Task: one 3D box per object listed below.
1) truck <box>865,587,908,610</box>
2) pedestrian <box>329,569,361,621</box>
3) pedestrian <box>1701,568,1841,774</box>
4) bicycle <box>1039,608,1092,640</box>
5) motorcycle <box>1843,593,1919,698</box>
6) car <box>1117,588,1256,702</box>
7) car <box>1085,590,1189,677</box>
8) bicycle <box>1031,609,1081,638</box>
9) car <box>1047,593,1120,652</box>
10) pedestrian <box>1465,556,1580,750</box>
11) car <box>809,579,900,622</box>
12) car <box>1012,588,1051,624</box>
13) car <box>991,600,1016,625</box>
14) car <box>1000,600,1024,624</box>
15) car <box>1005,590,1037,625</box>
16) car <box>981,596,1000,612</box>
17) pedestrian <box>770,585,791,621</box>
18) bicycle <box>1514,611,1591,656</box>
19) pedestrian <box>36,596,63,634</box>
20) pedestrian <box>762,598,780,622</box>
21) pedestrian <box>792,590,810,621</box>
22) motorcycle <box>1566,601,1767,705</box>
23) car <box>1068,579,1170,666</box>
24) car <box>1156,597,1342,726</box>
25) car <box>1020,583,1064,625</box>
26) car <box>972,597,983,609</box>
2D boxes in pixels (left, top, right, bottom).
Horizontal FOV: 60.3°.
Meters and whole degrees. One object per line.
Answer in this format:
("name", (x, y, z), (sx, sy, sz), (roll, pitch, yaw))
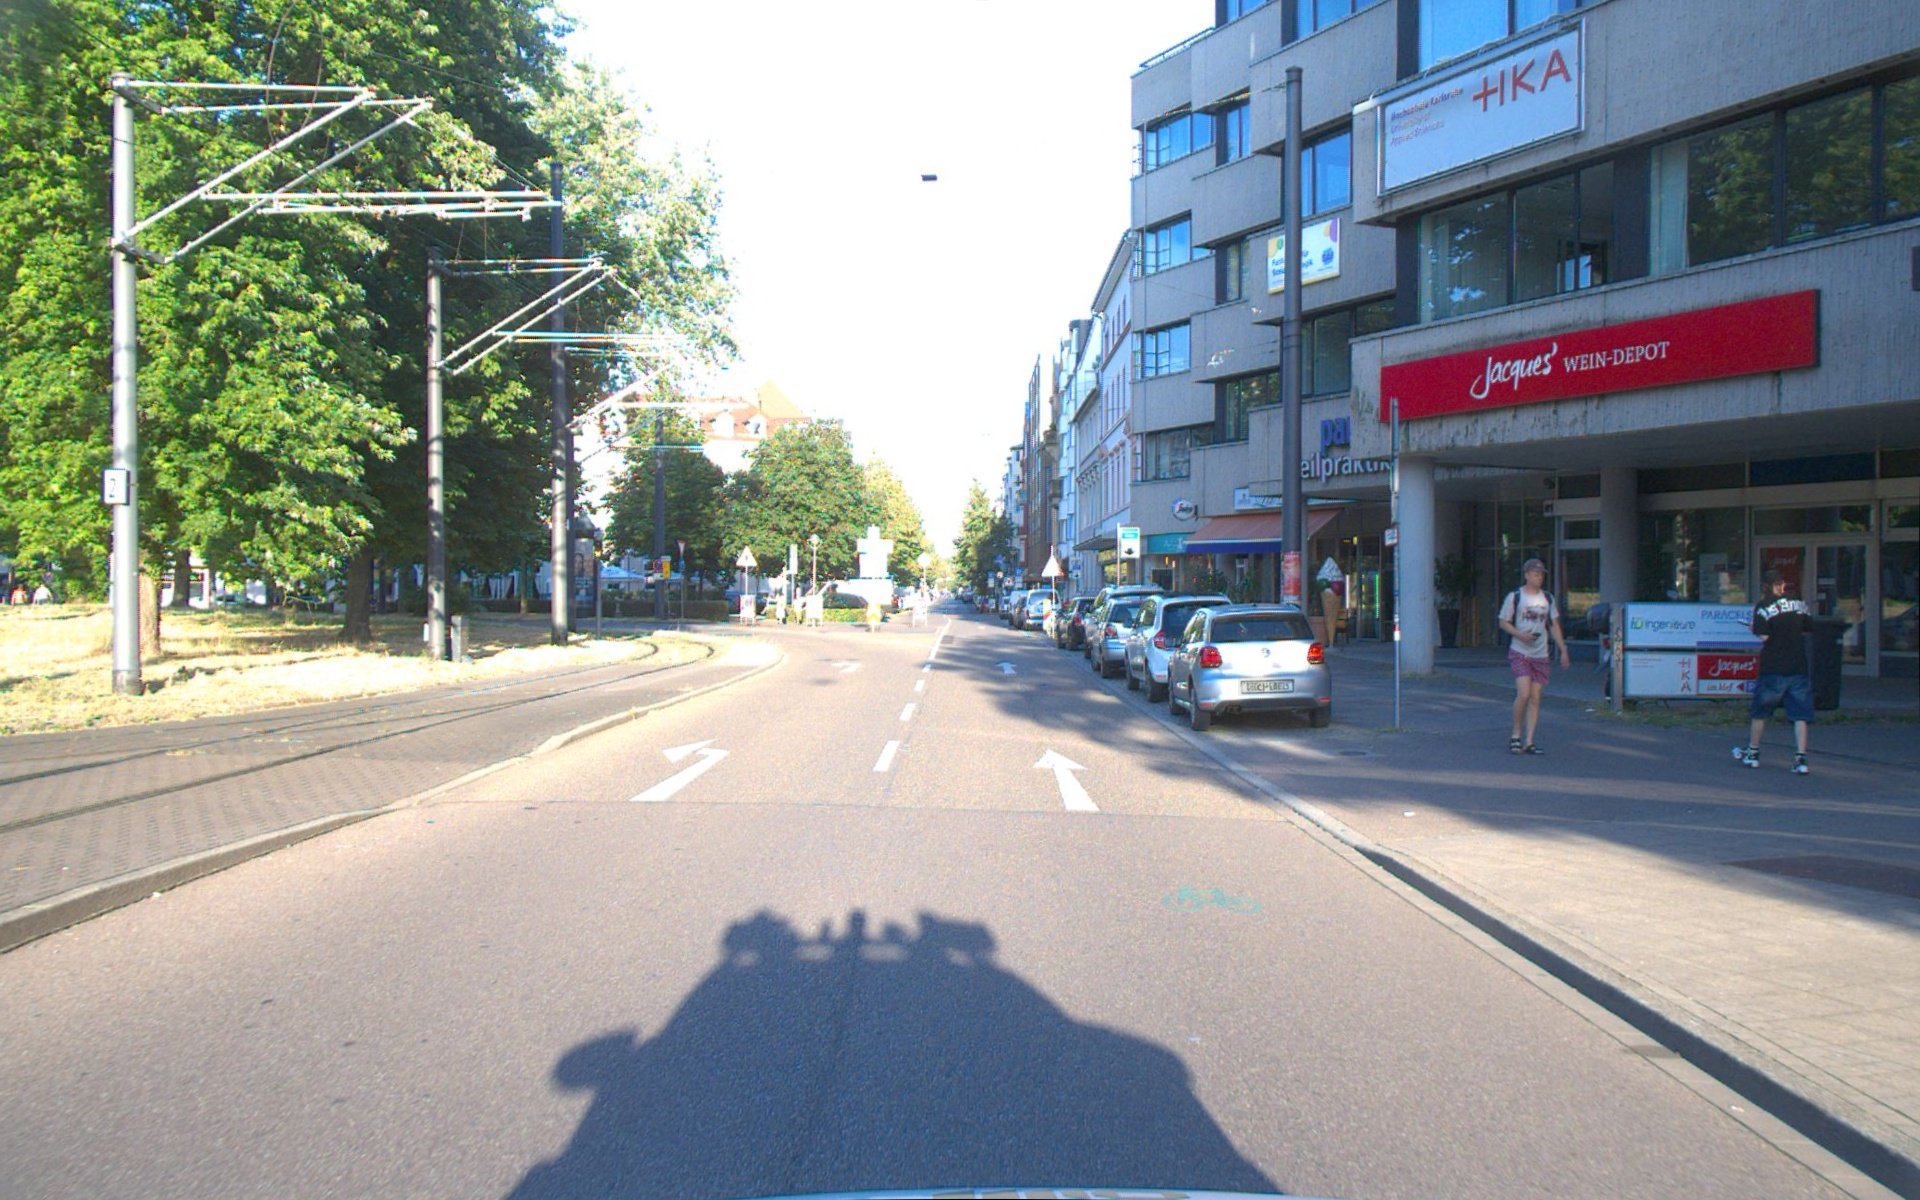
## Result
("truck", (-8.297, -0.177, 187.863), (4.840, 2.661, 2.000), (0, 0, -1))
("pedestrian", (-21.014, -0.170, 56.556), (0.728, 1.729, 0.823), (1, -2, 0))
("pedestrian", (6.799, 0.565, 13.892), (0.630, 1.655, 0.851), (-1, 1, -23))
("bicycle", (3.715, 0.842, 58.264), (1.749, 1.007, 0.542), (-3, 1, 11))
("motorcycle", (12.333, 0.576, 21.107), (1.753, 1.316, 0.670), (-1, 0, 15))
("car", (3.473, 0.645, 25.918), (1.552, 1.618, 3.667), (1, 0, -2))
("car", (3.390, 0.606, 32.225), (1.607, 1.555, 4.000), (1, 0, 0))
("bicycle", (3.601, 0.876, 62.262), (1.751, 1.007, 0.542), (-2, 1, 23))
("car", (3.337, 0.579, 45.319), (1.753, 1.534, 3.921), (1, 0, 1))
("pedestrian", (5.442, 0.495, 16.039), (0.630, 1.817, 0.851), (1, 0, -23))
("car", (-5.836, 0.032, 91.507), (4.544, 2.290, 2.184), (1, -1, -27))
("car", (3.427, 0.281, 79.732), (1.623, 1.694, 4.107), (1, 0, -1))
("car", (3.237, 0.912, 123.346), (1.662, 1.800, 3.999), (0, 0, -1))
("car", (3.760, 0.839, 118.267), (1.645, 1.588, 4.001), (-2, 0, 2))
("car", (3.389, 0.417, 92.153), (1.674, 1.867, 4.306), (1, 0, 1))
("car", (3.042, 0.394, 165.435), (1.545, 1.570, 3.395), (-2, -1, -3))
("pedestrian", (-8.112, 0.145, 74.798), (0.692, 1.586, 0.685), (1, 0, -37))
("bicycle", (11.540, 0.644, 32.230), (1.367, 0.843, 0.437), (1, 0, -10))
("pedestrian", (-46.399, 0.761, 84.274), (0.843, 1.872, 0.996), (1, 2, 0))
("pedestrian", (-10.492, 0.554, 91.828), (0.741, 1.300, 0.653), (1, 0, -37))
("pedestrian", (-7.210, 0.265, 75.031), (0.558, 1.388, 0.606), (1, 0, -37))
("motorcycle", (8.549, 0.630, 20.037), (2.234, 1.211, 0.703), (0, 0, -11))
("car", (3.543, 0.465, 37.629), (1.748, 1.836, 4.400), (1, 0, -2))
("car", (3.555, 0.712, 20.990), (1.748, 1.482, 4.001), (0, 0, 1))
("car", (3.635, 0.186, 73.967), (1.756, 1.823, 4.091), (0, 0, 0))
("car", (2.048, 0.375, 197.204), (1.182, 1.323, 2.659), (1, -1, -3))
